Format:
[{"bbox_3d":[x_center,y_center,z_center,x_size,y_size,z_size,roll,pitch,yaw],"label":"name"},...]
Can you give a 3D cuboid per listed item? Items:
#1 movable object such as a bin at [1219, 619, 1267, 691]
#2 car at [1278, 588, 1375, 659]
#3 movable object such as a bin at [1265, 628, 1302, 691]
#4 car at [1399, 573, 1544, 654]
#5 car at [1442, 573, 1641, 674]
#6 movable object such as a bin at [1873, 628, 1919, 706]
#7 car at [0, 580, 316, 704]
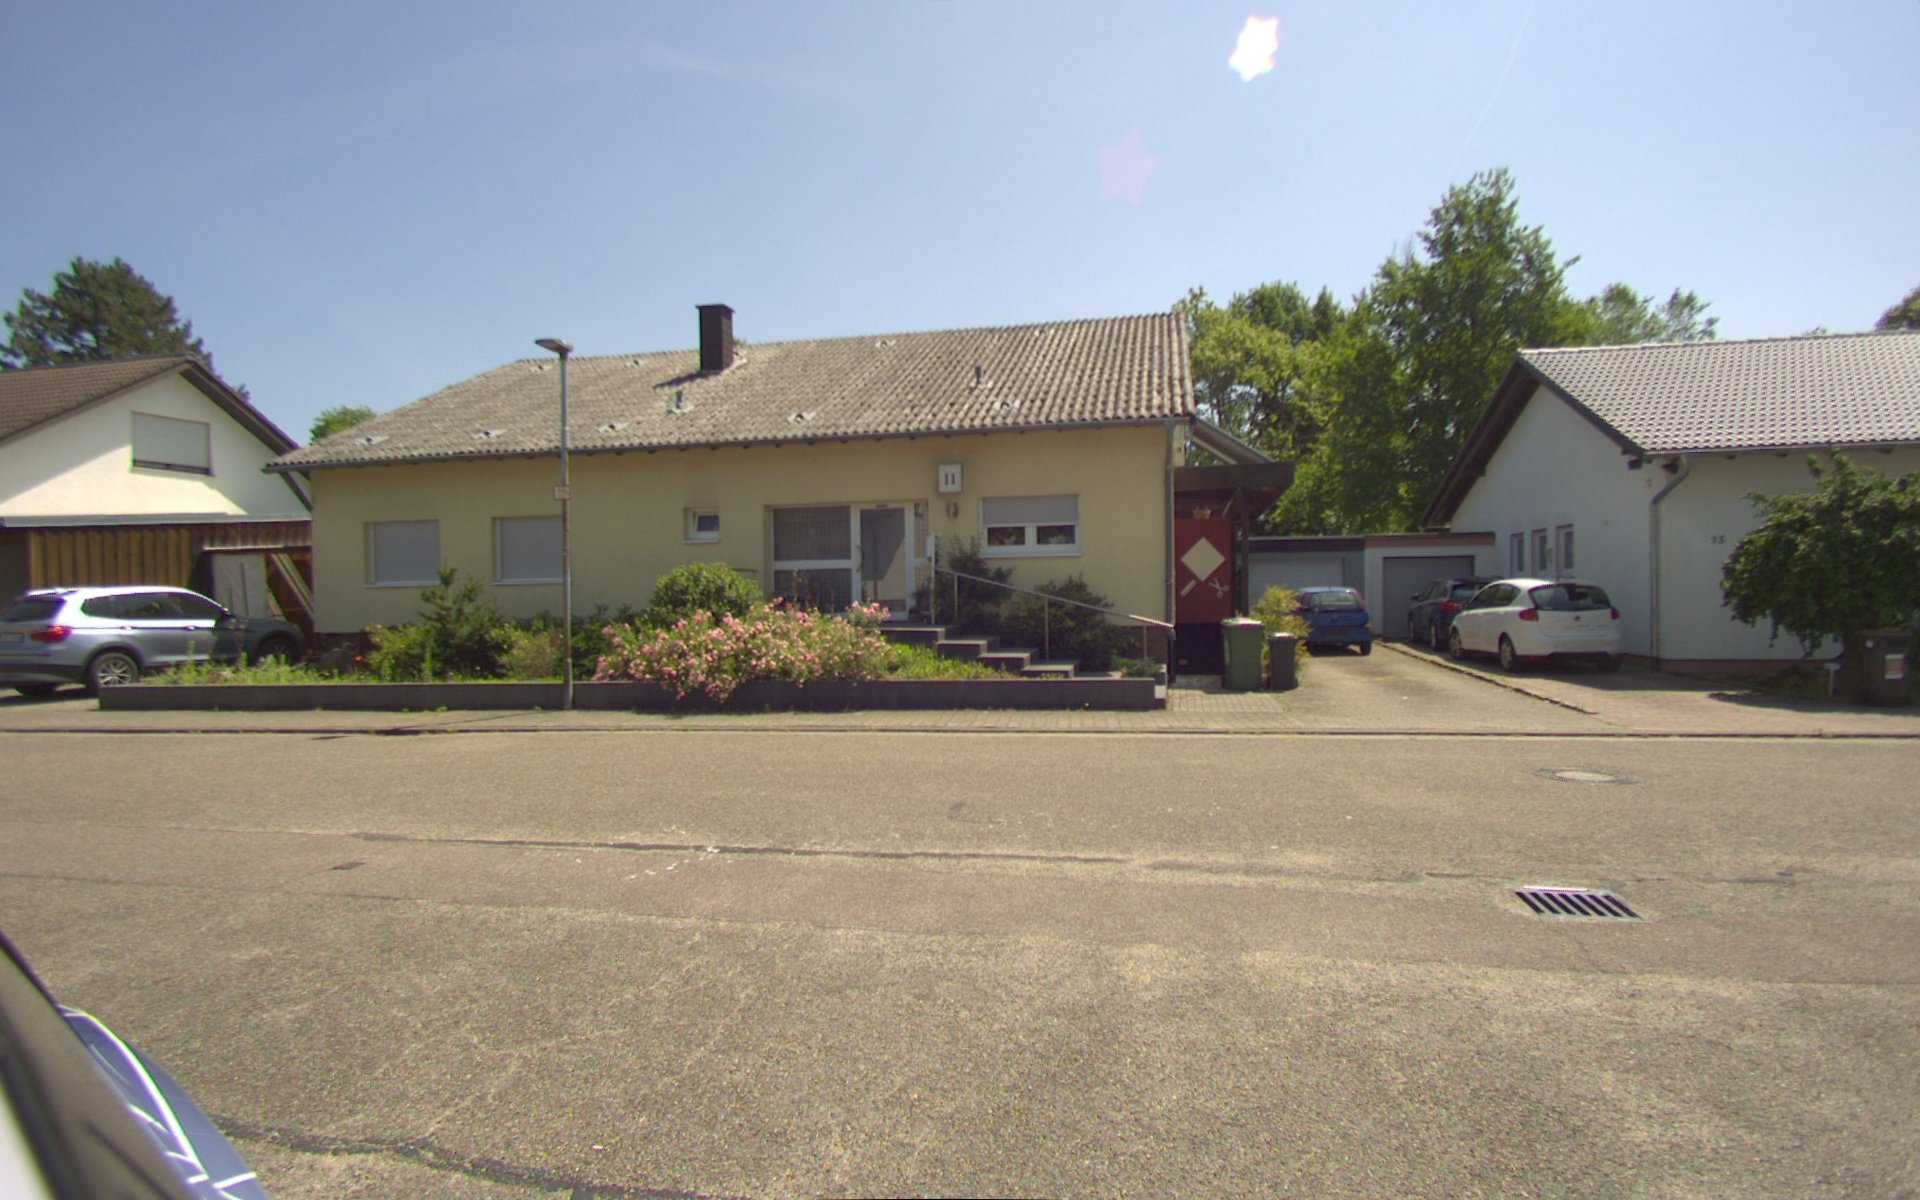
[{"bbox_3d":[4.257,0.818,15.259,0.585,1.049,0.491,-2,0,5],"label":"movable object such as a bin"},{"bbox_3d":[8.250,0.484,23.034,1.603,1.466,3.242,-1,1,12],"label":"car"},{"bbox_3d":[4.837,0.883,15.139,0.402,0.898,0.426,-2,0,4],"label":"movable object such as a bin"},{"bbox_3d":[11.327,0.256,22.700,1.909,1.620,3.985,-2,1,12],"label":"car"},{"bbox_3d":[10.221,0.368,18.152,1.732,1.580,3.989,-1,0,9],"label":"car"},{"bbox_3d":[11.231,0.795,12.041,0.371,0.898,0.389,-2,0,11],"label":"movable object such as a bin"},{"bbox_3d":[-13.534,0.577,17.019,1.693,1.715,4.621,-1,2,15],"label":"car"}]
